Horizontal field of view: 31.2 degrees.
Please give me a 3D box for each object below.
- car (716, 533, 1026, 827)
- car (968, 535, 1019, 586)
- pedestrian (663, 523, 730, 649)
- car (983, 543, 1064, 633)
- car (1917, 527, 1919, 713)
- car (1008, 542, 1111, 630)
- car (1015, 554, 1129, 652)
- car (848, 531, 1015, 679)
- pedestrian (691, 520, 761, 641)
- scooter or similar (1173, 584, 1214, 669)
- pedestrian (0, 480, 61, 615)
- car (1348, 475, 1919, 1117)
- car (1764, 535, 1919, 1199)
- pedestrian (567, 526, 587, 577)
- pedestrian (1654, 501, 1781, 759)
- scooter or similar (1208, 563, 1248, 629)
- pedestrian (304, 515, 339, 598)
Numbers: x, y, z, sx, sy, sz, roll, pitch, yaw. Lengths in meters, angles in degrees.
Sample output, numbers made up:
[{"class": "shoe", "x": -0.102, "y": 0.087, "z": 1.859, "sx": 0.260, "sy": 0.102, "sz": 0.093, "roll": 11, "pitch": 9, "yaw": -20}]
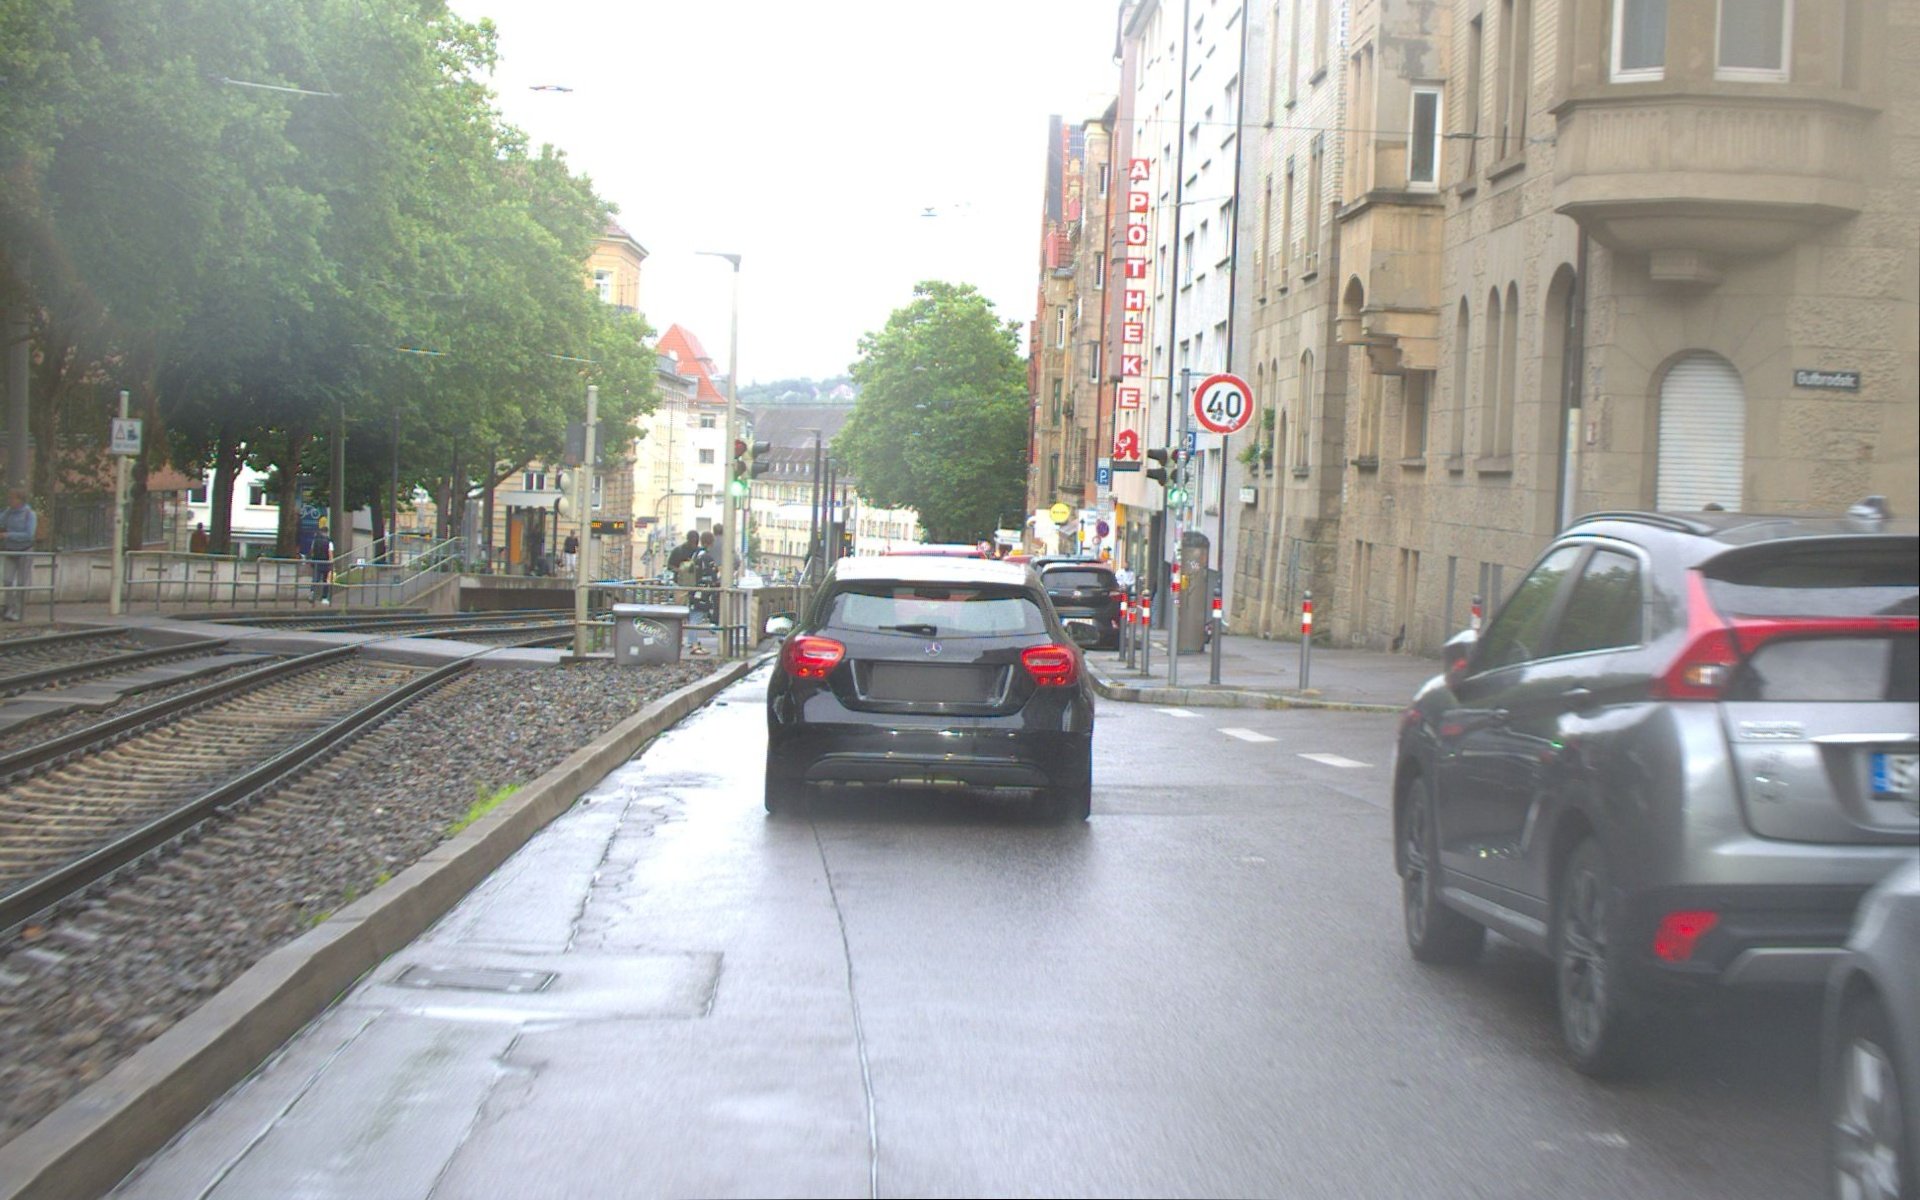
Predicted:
[{"class": "car", "x": -0.501, "y": 0.387, "z": 19.709, "sx": 1.580, "sy": 1.499, "sz": 3.575, "roll": 1, "pitch": 1, "yaw": -1}, {"class": "car", "x": 1.315, "y": -1.586, "z": 136.982, "sx": 1.993, "sy": 2.007, "sz": 4.000, "roll": 0, "pitch": 1, "yaw": 0}, {"class": "pedestrian", "x": -3.427, "y": -0.191, "z": 44.813, "sx": 0.806, "sy": 1.628, "sz": 0.892, "roll": 0, "pitch": 1, "yaw": 0}, {"class": "car", "x": 1.455, "y": -0.306, "z": 79.776, "sx": 1.759, "sy": 2.007, "sz": 4.000, "roll": 0, "pitch": 1, "yaw": -1}, {"class": "car", "x": 10.024, "y": 0.199, "z": 27.280, "sx": 4.337, "sy": 1.526, "sz": 1.891, "roll": 1, "pitch": 1, "yaw": 1}, {"class": "car", "x": 1.830, "y": -0.293, "z": 64.362, "sx": 1.759, "sy": 1.573, "sz": 4.000, "roll": 0, "pitch": 1, "yaw": -1}, {"class": "car", "x": 1.916, "y": 0.023, "z": 59.797, "sx": 1.827, "sy": 1.612, "sz": 3.864, "roll": 0, "pitch": 1, "yaw": 0}, {"class": "car", "x": -0.333, "y": 0.023, "z": 39.578, "sx": 1.785, "sy": 1.575, "sz": 4.000, "roll": 1, "pitch": 1, "yaw": -1}, {"class": "pedestrian", "x": -3.888, "y": -0.336, "z": 57.041, "sx": 1.137, "sy": 1.991, "sz": 1.173, "roll": 0, "pitch": 1, "yaw": -4}, {"class": "scooter or similar", "x": 3.785, "y": 0.421, "z": 55.807, "sx": 0.448, "sy": 1.316, "sz": 1.778, "roll": 0, "pitch": 1, "yaw": -3}, {"class": "pedestrian", "x": -12.313, "y": -0.688, "z": 44.486, "sx": 1.054, "sy": 1.713, "sz": 0.904, "roll": 2, "pitch": 1, "yaw": 1}, {"class": "car", "x": 2.534, "y": 0.500, "z": 11.232, "sx": 1.766, "sy": 1.662, "sz": 4.333, "roll": 2, "pitch": 1, "yaw": -3}, {"class": "car", "x": 2.666, "y": 0.679, "z": 5.643, "sx": 1.693, "sy": 1.524, "sz": 4.000, "roll": 2, "pitch": 1, "yaw": 0}, {"class": "pedestrian", "x": -13.135, "y": -1.659, "z": 117.848, "sx": 0.518, "sy": 1.711, "sz": 0.551, "roll": 3, "pitch": 1, "yaw": 0}, {"class": "pedestrian", "x": 5.314, "y": 0.201, "z": 24.140, "sx": 0.694, "sy": 1.781, "sz": 0.758, "roll": -1, "pitch": 1, "yaw": -2}, {"class": "scooter or similar", "x": 5.507, "y": -0.085, "z": 70.666, "sx": 0.448, "sy": 1.316, "sz": 1.778, "roll": 0, "pitch": 1, "yaw": -8}, {"class": "pedestrian", "x": -13.637, "y": -0.925, "z": 73.411, "sx": 0.534, "sy": 1.748, "sz": 0.607, "roll": 3, "pitch": 1, "yaw": 0}]
